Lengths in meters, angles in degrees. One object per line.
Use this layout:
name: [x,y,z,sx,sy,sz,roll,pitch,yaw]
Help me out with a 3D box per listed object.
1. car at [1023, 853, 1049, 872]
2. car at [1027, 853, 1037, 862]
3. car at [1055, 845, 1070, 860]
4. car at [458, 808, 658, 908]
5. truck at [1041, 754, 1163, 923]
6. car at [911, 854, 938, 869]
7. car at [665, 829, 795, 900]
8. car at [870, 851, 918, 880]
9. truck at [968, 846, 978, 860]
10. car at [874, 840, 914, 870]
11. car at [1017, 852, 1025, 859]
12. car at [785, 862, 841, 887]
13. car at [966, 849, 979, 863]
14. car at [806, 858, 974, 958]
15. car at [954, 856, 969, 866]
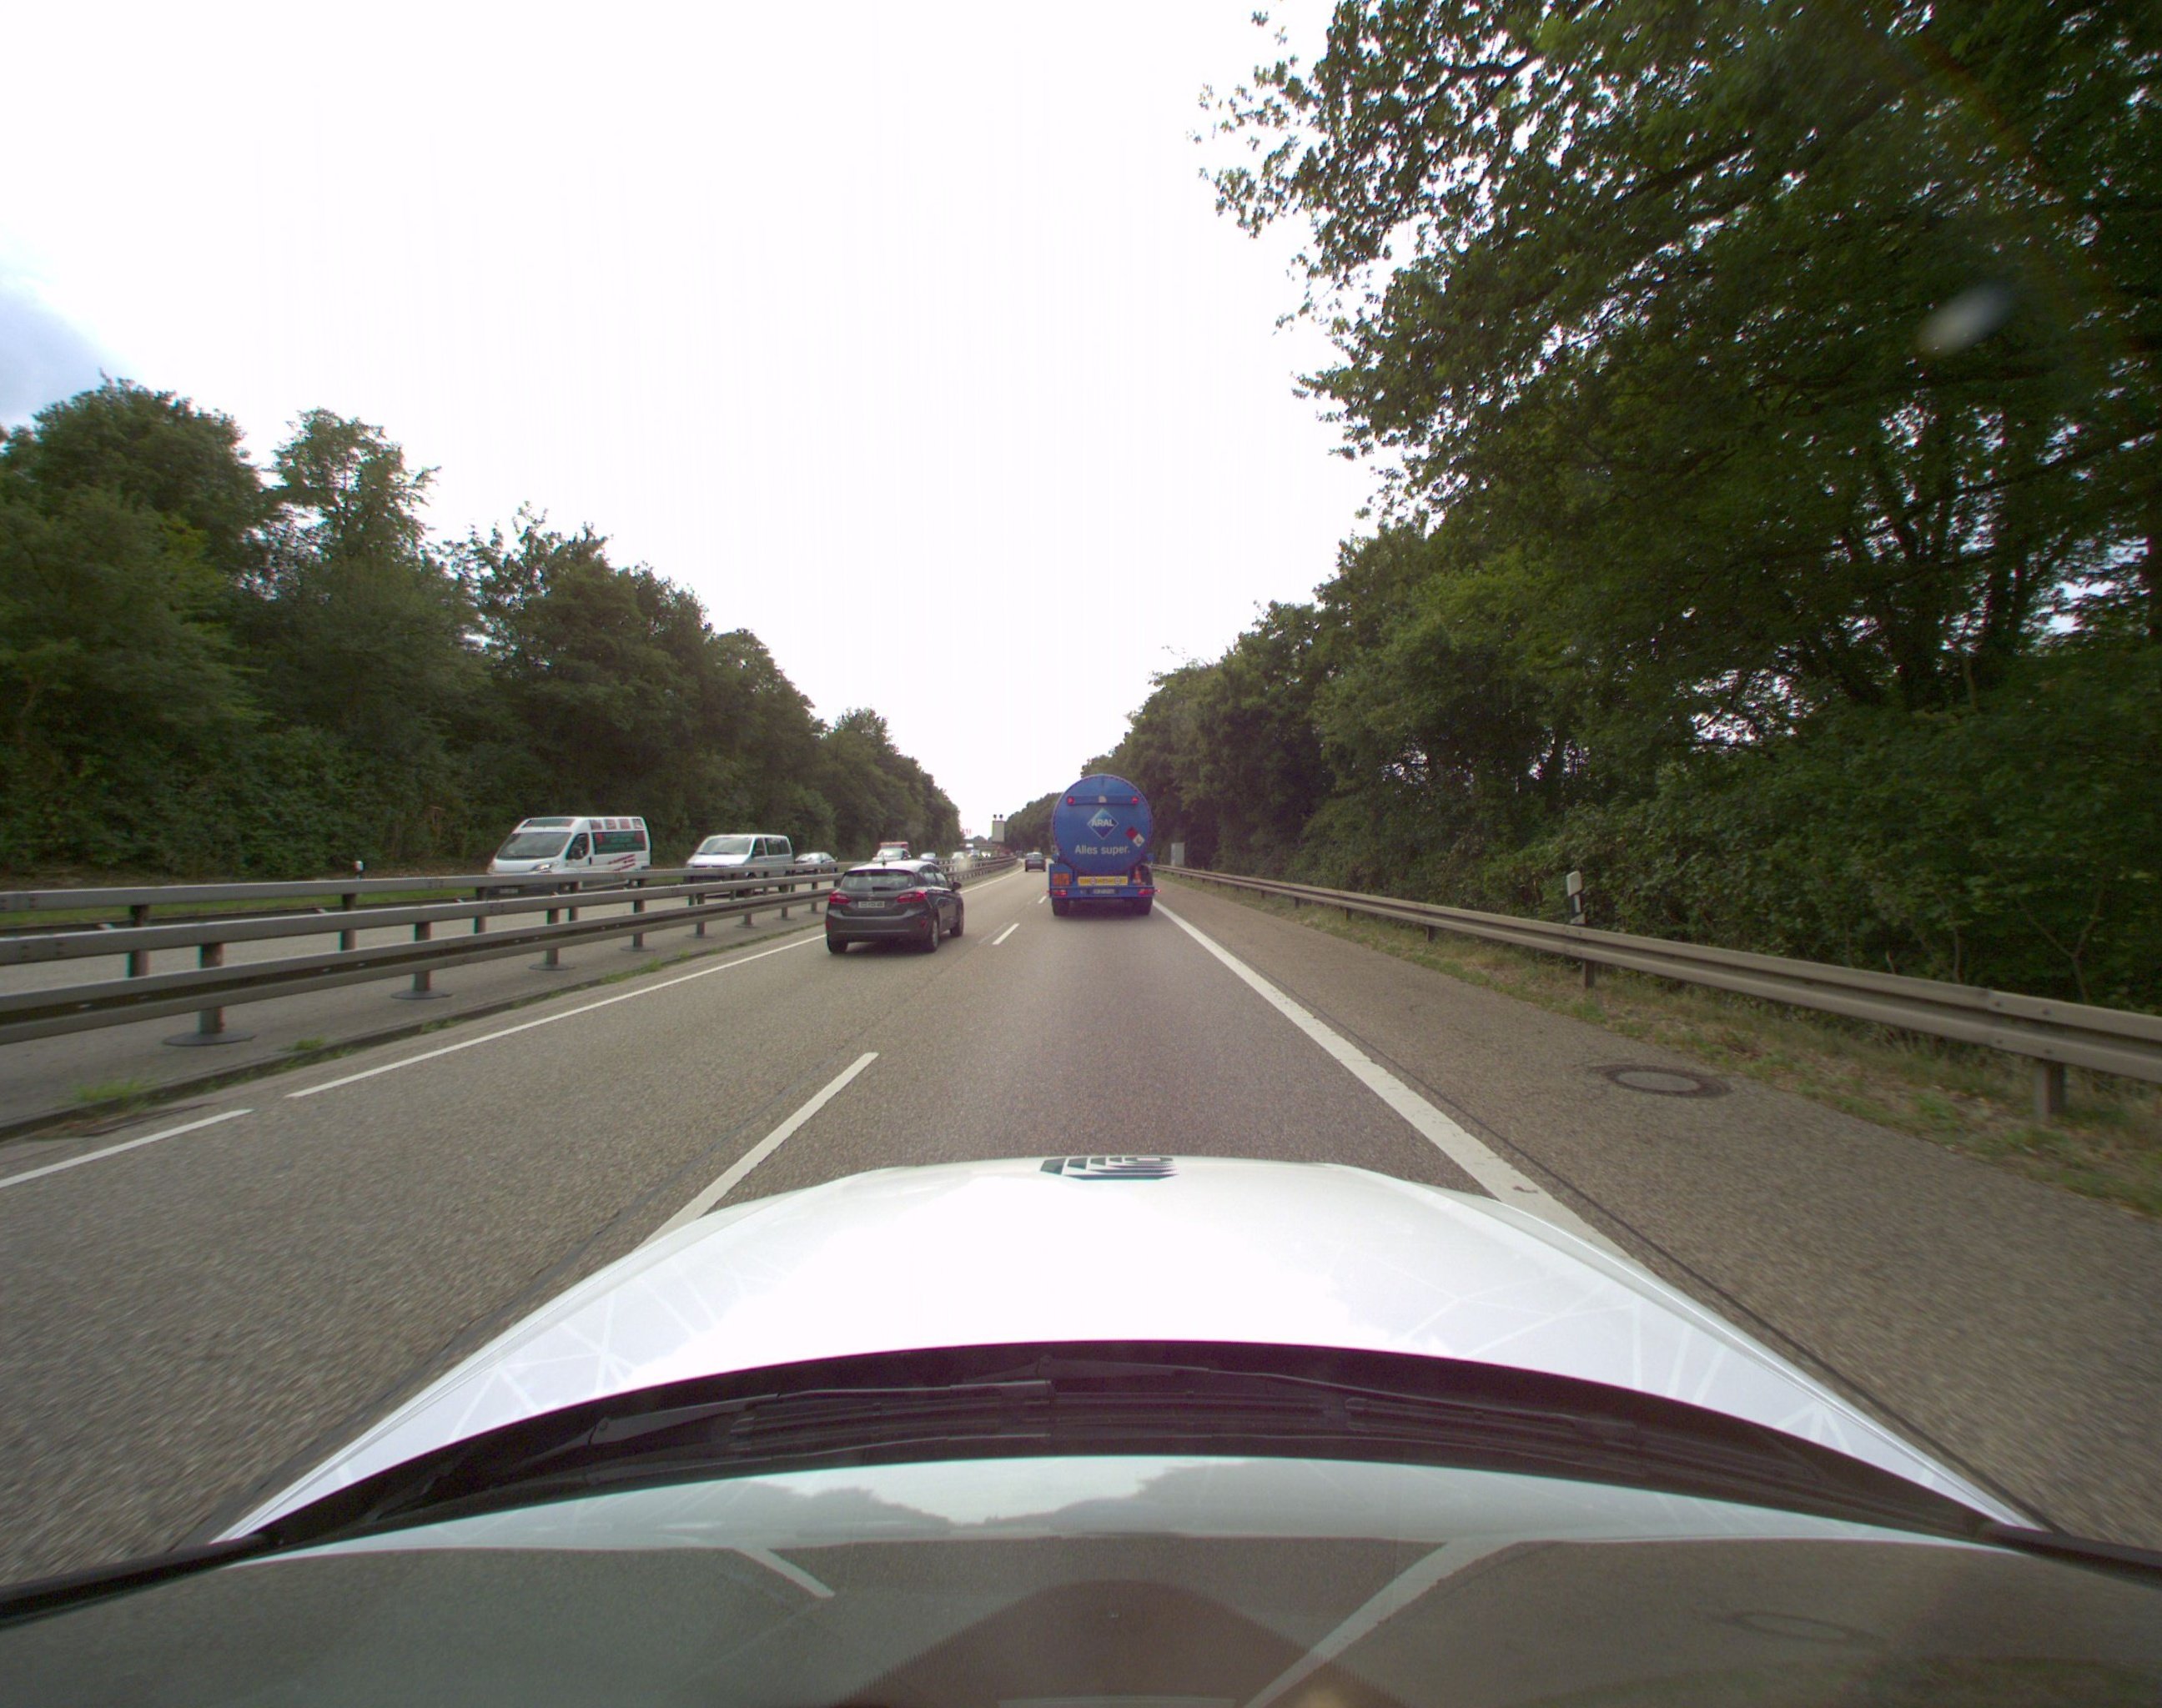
car: [-3.869,0.733,70.665,1.819,1.609,4.170,-1,0,2]
car: [-9.517,0.689,158.389,1.952,1.567,3.993,-1,0,-5]
car: [-2.813,-0.215,123.813,1.986,2.244,4.002,-1,0,2]
car: [-15.307,0.110,24.366,2.304,2.611,5.553,-1,0,0]
truck: [0.625,-0.354,22.572,2.744,3.846,7.692,-1,0,2]
car: [-16.601,0.758,86.805,1.987,1.509,4.503,-1,0,0]
car: [-10.841,0.297,25.597,1.815,1.983,5.058,-1,0,1]
car: [-10.690,0.622,46.735,1.776,1.563,4.014,-1,0,0]
truck: [-32.444,-0.185,244.493,2.688,4.063,5.313,-1,0,-5]
car: [-15.213,0.092,66.433,2.060,2.256,5.373,-1,0,-1]
car: [-15.669,0.392,211.202,1.991,1.552,3.992,-1,0,-6]
car: [-14.845,1.120,45.344,1.769,1.296,4.106,-1,0,0]
car: [-18.727,0.385,140.833,1.932,2.321,5.297,-1,0,-4]
car: [-3.151,0.817,14.449,1.820,1.458,4.640,-1,0,1]
car: [-17.792,1.020,121.222,1.689,1.466,4.088,-1,0,-1]
